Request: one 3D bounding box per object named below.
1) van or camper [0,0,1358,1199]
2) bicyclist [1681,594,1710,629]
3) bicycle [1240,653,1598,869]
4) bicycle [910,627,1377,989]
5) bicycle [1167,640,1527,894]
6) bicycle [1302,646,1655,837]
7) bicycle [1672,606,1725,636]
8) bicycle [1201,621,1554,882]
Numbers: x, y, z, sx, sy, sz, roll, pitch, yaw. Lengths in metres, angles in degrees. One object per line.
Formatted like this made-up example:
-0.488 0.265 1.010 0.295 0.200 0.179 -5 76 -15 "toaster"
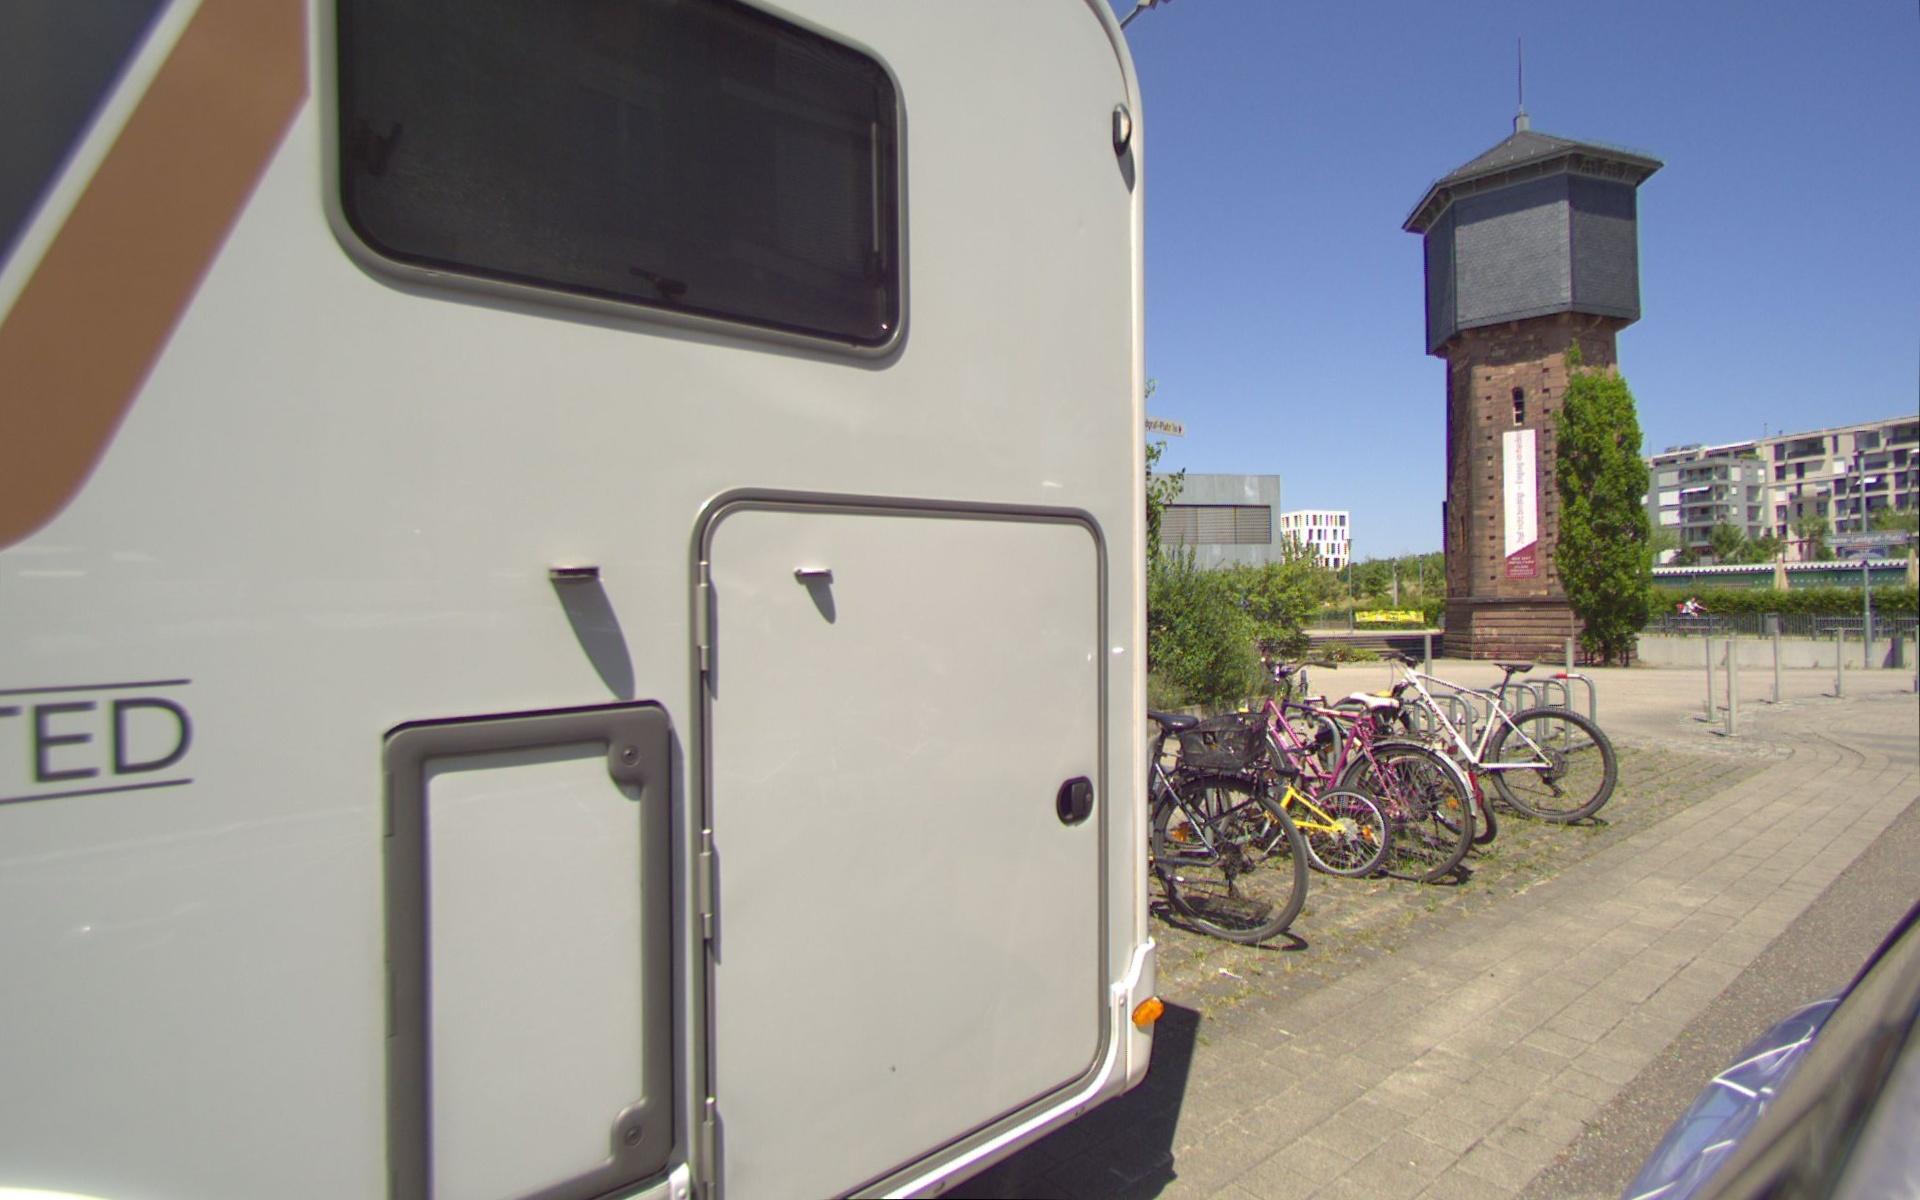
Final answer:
-2.686 0.018 1.034 7.692 2.943 2.442 -1 -1 -41 "van or camper"
31.638 0.491 43.531 0.718 1.453 0.661 -1 -2 -11 "bicyclist"
2.751 0.892 6.306 0.926 0.987 1.862 -1 1 -27 "bicycle"
0.781 0.781 4.565 1.909 1.238 0.816 1 0 35 "bicycle"
2.037 0.814 5.610 0.467 1.125 1.887 0 -1 -38 "bicycle"
3.483 0.872 6.897 2.022 1.016 0.863 0 0 39 "bicycle"
31.655 0.898 43.410 0.579 1.214 1.944 -1 -1 -11 "bicycle"
2.316 0.759 5.855 0.545 1.238 1.854 0 0 -38 "bicycle"
